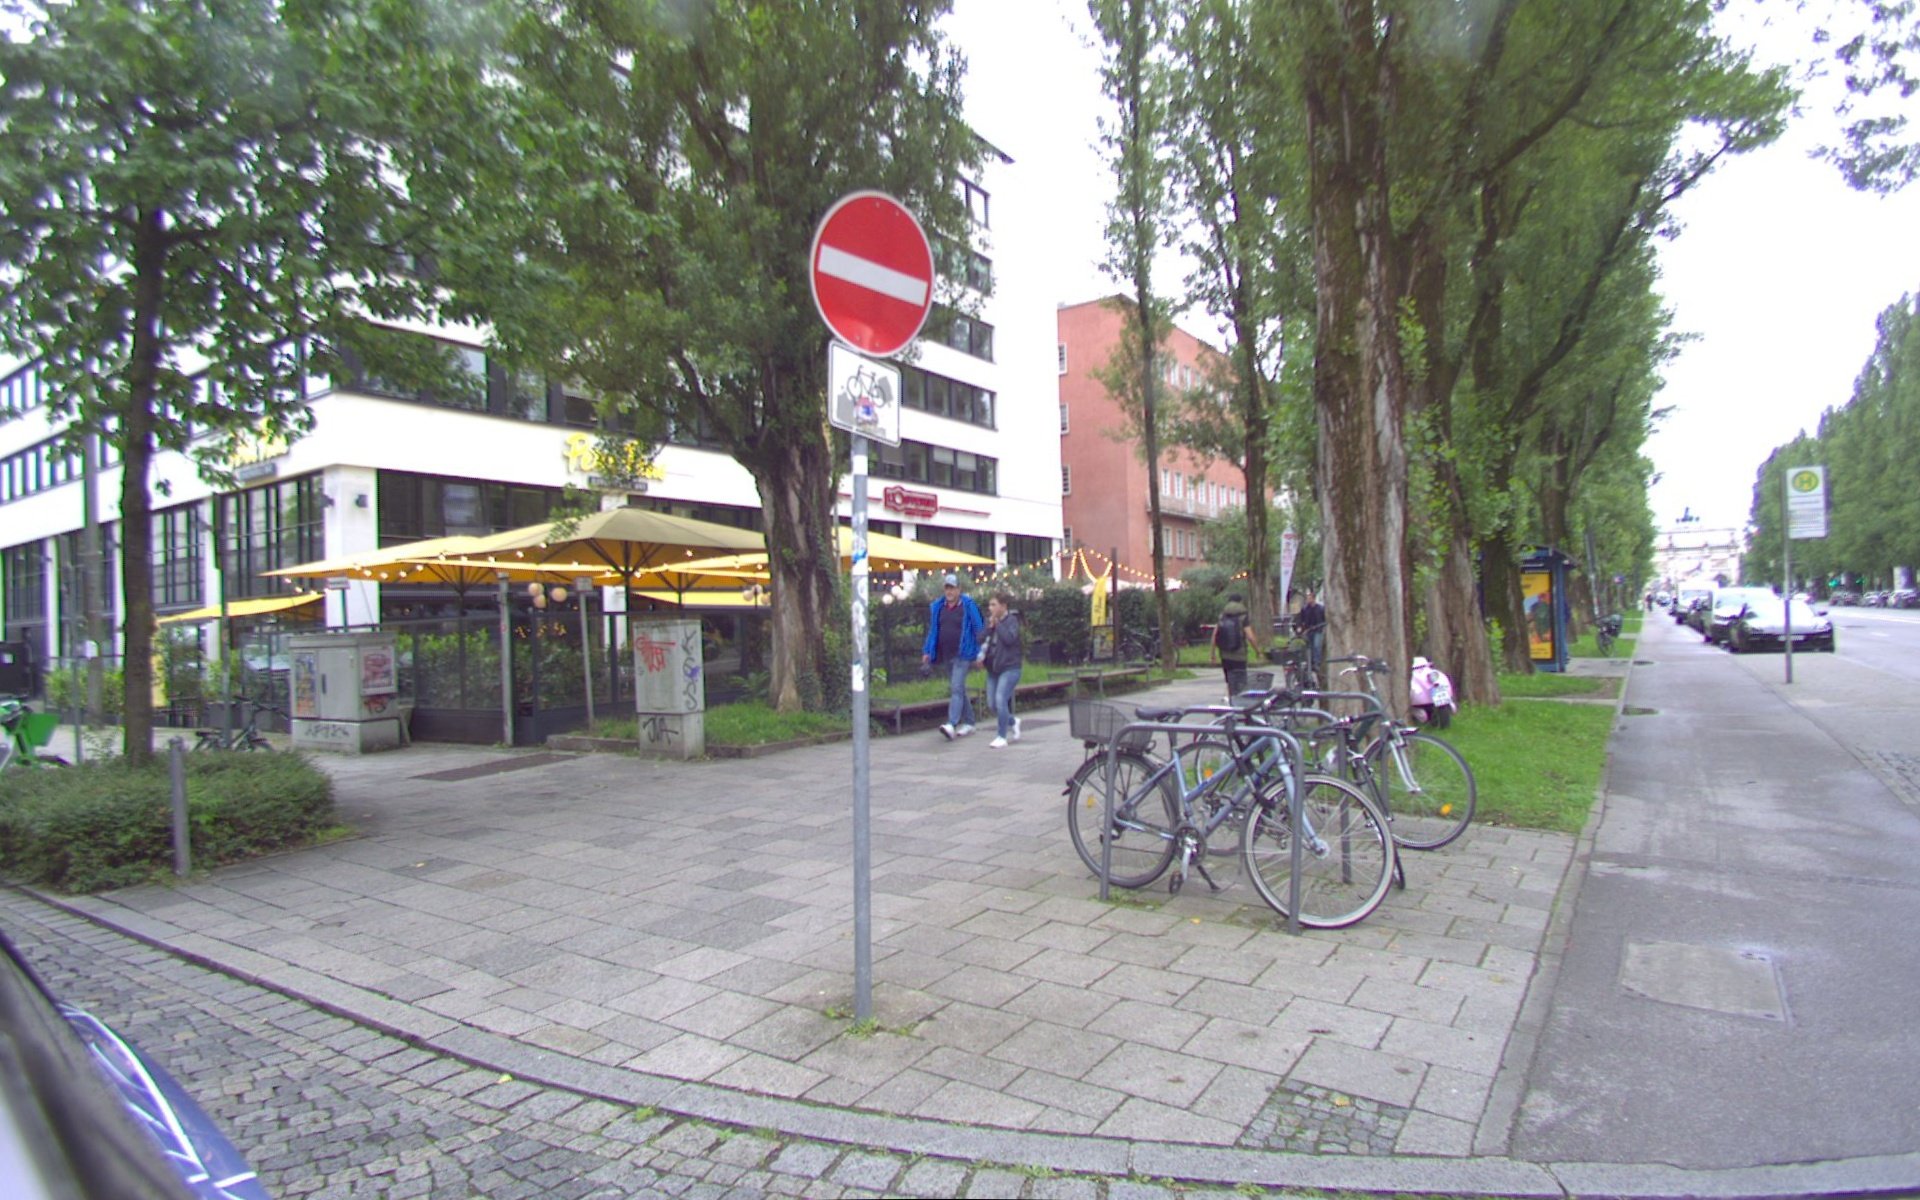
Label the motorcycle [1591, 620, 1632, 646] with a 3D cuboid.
[{"bbox_3d":[24.369,1.218,37.863,0.461,0.945,1.661,-2,-2,2],"label":"motorcycle"}]

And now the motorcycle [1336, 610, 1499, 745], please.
[{"bbox_3d":[4.968,0.785,11.149,0.619,1.204,1.996,-2,3,-9],"label":"motorcycle"}]

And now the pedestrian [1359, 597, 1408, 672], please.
[{"bbox_3d":[9.984,0.808,23.867,0.856,1.724,0.948,-3,-2,33],"label":"pedestrian"}]

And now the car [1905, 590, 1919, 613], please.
[{"bbox_3d":[76.548,0.093,79.978,1.995,1.735,4.758,-2,-1,35],"label":"car"}]

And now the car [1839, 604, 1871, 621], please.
[{"bbox_3d":[94.430,1.315,106.862,1.995,1.735,4.297,-2,-1,35],"label":"car"}]

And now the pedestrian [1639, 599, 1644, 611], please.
[{"bbox_3d":[123.484,0.898,183.387,0.504,2.010,0.515,-3,-2,38],"label":"pedestrian"}]

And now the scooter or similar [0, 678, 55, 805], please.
[{"bbox_3d":[-10.133,1.489,10.500,0.323,1.282,1.250,-2,-2,3],"label":"scooter or similar"}]

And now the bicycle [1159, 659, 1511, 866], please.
[{"bbox_3d":[2.270,0.943,6.340,1.982,1.101,0.485,-3,-2,40],"label":"bicycle"}]

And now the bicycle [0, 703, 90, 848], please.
[{"bbox_3d":[-8.405,1.528,8.544,0.546,1.152,1.761,-2,-2,3],"label":"bicycle"}]

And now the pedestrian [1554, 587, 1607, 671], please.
[{"bbox_3d":[13.963,0.652,22.800,0.886,1.857,0.761,-3,-2,27],"label":"pedestrian"}]

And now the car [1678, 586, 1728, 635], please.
[{"bbox_3d":[43.059,0.584,58.767,2.007,2.652,5.930,-3,-2,34],"label":"car"}]

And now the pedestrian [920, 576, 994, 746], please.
[{"bbox_3d":[-0.026,0.704,11.848,0.696,1.922,0.643,-2,-2,11],"label":"pedestrian"}]

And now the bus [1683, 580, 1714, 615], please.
[{"bbox_3d":[93.686,-0.224,128.551,2.643,4.143,9.682,-3,-2,34],"label":"bus"}]

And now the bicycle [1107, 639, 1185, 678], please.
[{"bbox_3d":[4.666,1.469,25.430,1.796,0.919,0.613,-3,-2,32],"label":"bicycle"}]

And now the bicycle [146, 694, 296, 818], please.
[{"bbox_3d":[-6.998,1.432,9.554,1.757,1.030,0.548,-3,-2,33],"label":"bicycle"}]

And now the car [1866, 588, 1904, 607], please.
[{"bbox_3d":[86.250,-0.231,94.388,1.995,1.735,4.297,-2,-1,35],"label":"car"}]

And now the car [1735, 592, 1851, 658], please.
[{"bbox_3d":[22.102,0.644,27.005,2.008,1.592,3.952,-3,-2,35],"label":"car"}]

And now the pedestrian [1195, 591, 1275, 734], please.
[{"bbox_3d":[3.567,0.788,13.128,0.752,1.786,0.696,-2,-1,39],"label":"pedestrian"}]

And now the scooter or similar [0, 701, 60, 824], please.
[{"bbox_3d":[-9.561,1.608,9.789,0.327,1.153,1.236,-3,-2,34],"label":"scooter or similar"}]

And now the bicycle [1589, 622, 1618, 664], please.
[{"bbox_3d":[16.785,1.103,26.408,0.552,1.030,1.744,-3,-2,31],"label":"bicycle"}]

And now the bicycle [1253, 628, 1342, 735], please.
[{"bbox_3d":[4.181,0.970,12.479,0.582,1.198,1.597,-3,-2,34],"label":"bicycle"}]

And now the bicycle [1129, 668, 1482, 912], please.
[{"bbox_3d":[1.792,0.934,5.444,1.701,1.101,0.485,-3,-2,40],"label":"bicycle"}]

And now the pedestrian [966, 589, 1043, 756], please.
[{"bbox_3d":[0.492,0.776,10.995,0.696,1.741,0.643,-2,-2,11],"label":"pedestrian"}]

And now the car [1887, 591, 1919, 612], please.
[{"bbox_3d":[79.202,0.131,84.558,1.995,1.735,4.297,-2,-1,35],"label":"car"}]

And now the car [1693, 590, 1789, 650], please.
[{"bbox_3d":[25.301,0.693,32.919,2.006,1.771,3.955,-4,-4,32],"label":"car"}]

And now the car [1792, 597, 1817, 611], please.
[{"bbox_3d":[107.359,0.525,128.652,1.995,1.735,4.297,-2,-1,35],"label":"car"}]

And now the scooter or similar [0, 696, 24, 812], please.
[{"bbox_3d":[-10.667,1.644,10.689,1.234,1.189,0.390,-2,-2,3],"label":"scooter or similar"}]

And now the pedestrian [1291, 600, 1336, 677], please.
[{"bbox_3d":[8.002,0.868,22.919,0.735,1.705,0.638,-3,-2,38],"label":"pedestrian"}]

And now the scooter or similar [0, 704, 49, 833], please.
[{"bbox_3d":[-9.078,1.571,9.083,0.365,1.153,1.425,-2,-2,10],"label":"scooter or similar"}]

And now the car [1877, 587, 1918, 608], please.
[{"bbox_3d":[81.886,-0.241,88.474,1.995,1.735,4.297,-2,-1,35],"label":"car"}]

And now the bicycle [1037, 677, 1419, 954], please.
[{"bbox_3d":[1.225,0.939,4.895,1.701,1.101,0.485,-3,-2,40],"label":"bicycle"}]
